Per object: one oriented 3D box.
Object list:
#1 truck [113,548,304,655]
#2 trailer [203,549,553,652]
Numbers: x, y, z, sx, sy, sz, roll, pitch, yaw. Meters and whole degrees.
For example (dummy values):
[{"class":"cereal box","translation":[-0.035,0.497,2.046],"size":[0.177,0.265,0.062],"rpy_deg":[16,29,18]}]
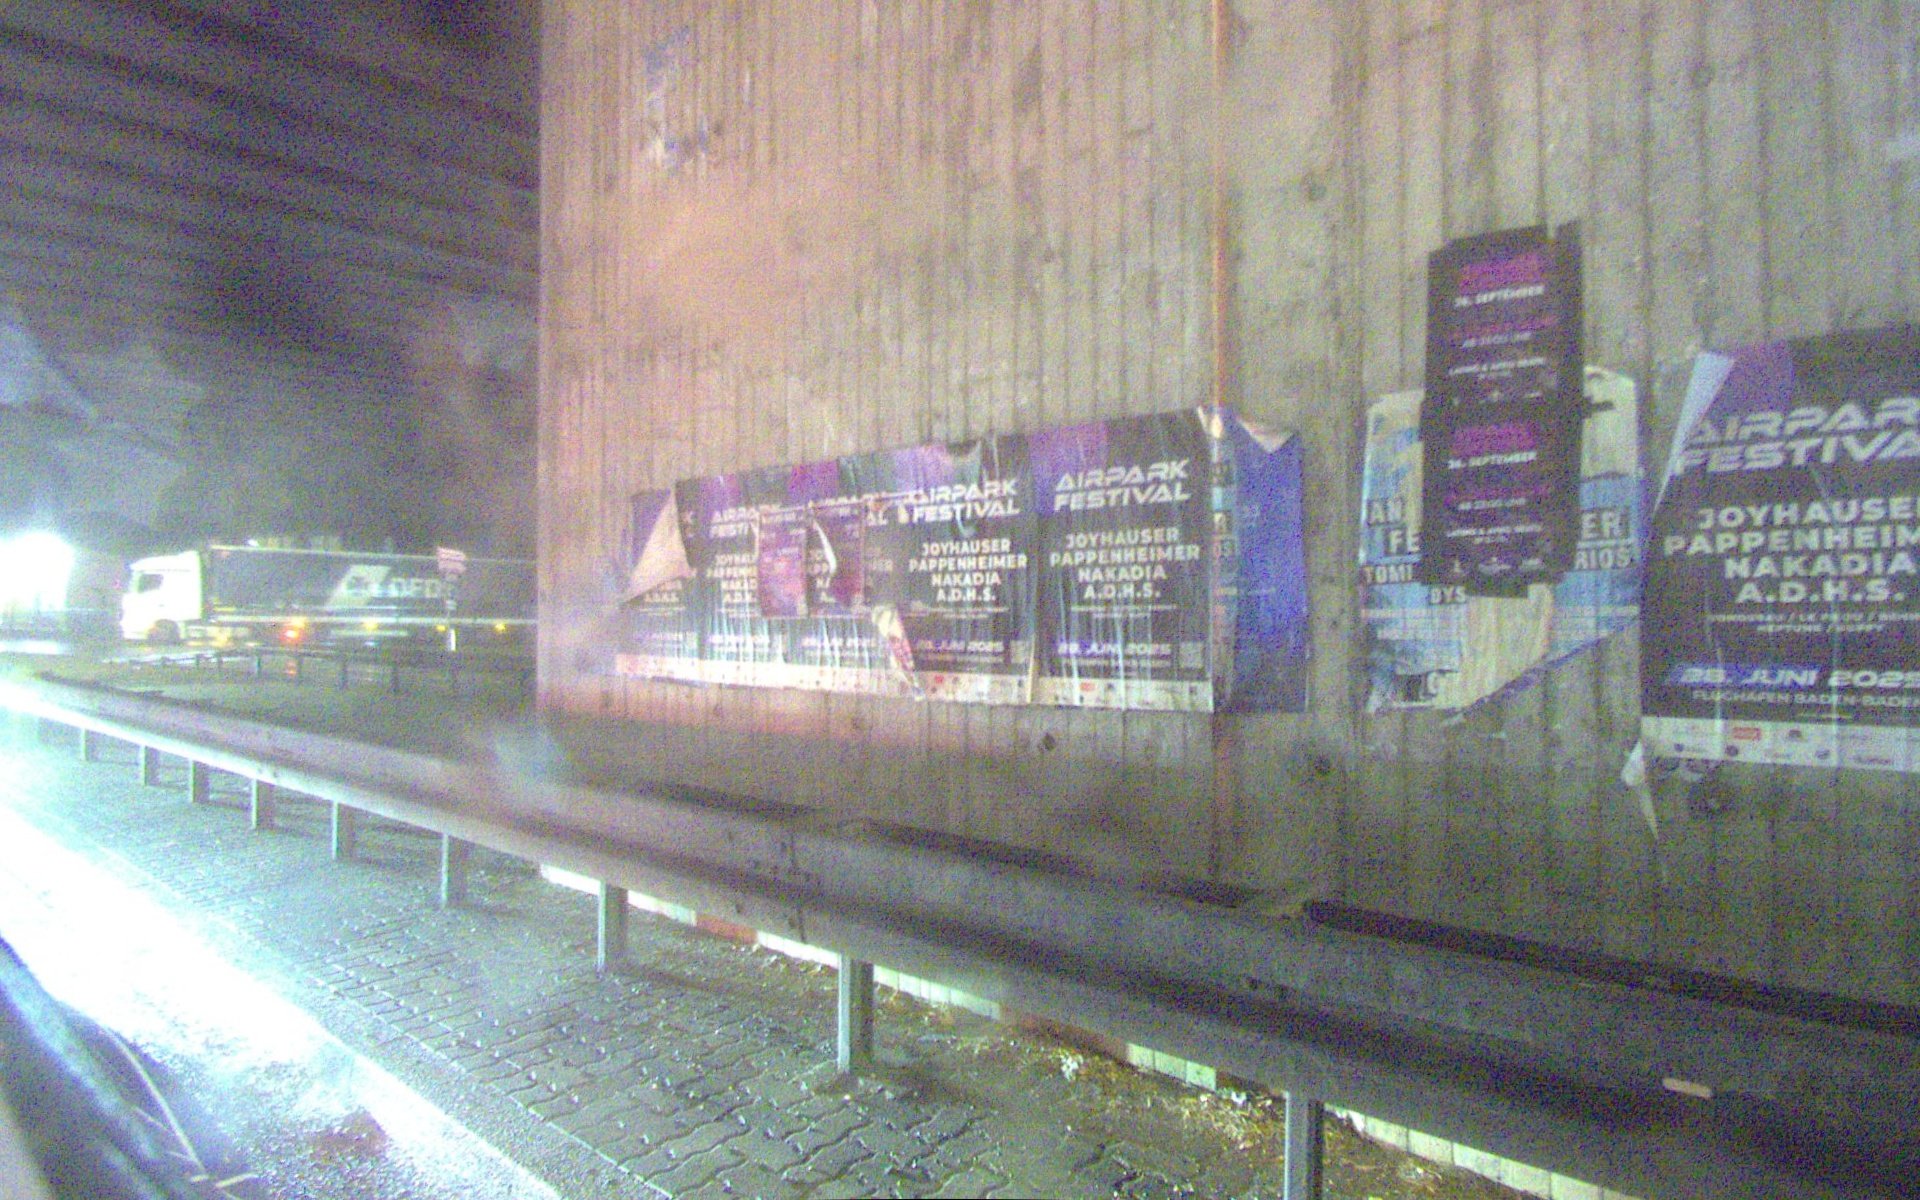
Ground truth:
[{"class":"truck","translation":[-31.826,0.034,43.265],"size":[6.270,4.208,3.980],"rpy_deg":[-1,0,-33]},{"class":"trailer","translation":[-26.698,-0.040,47.300],"size":[13.700,4.208,3.976],"rpy_deg":[-1,0,-40]}]
